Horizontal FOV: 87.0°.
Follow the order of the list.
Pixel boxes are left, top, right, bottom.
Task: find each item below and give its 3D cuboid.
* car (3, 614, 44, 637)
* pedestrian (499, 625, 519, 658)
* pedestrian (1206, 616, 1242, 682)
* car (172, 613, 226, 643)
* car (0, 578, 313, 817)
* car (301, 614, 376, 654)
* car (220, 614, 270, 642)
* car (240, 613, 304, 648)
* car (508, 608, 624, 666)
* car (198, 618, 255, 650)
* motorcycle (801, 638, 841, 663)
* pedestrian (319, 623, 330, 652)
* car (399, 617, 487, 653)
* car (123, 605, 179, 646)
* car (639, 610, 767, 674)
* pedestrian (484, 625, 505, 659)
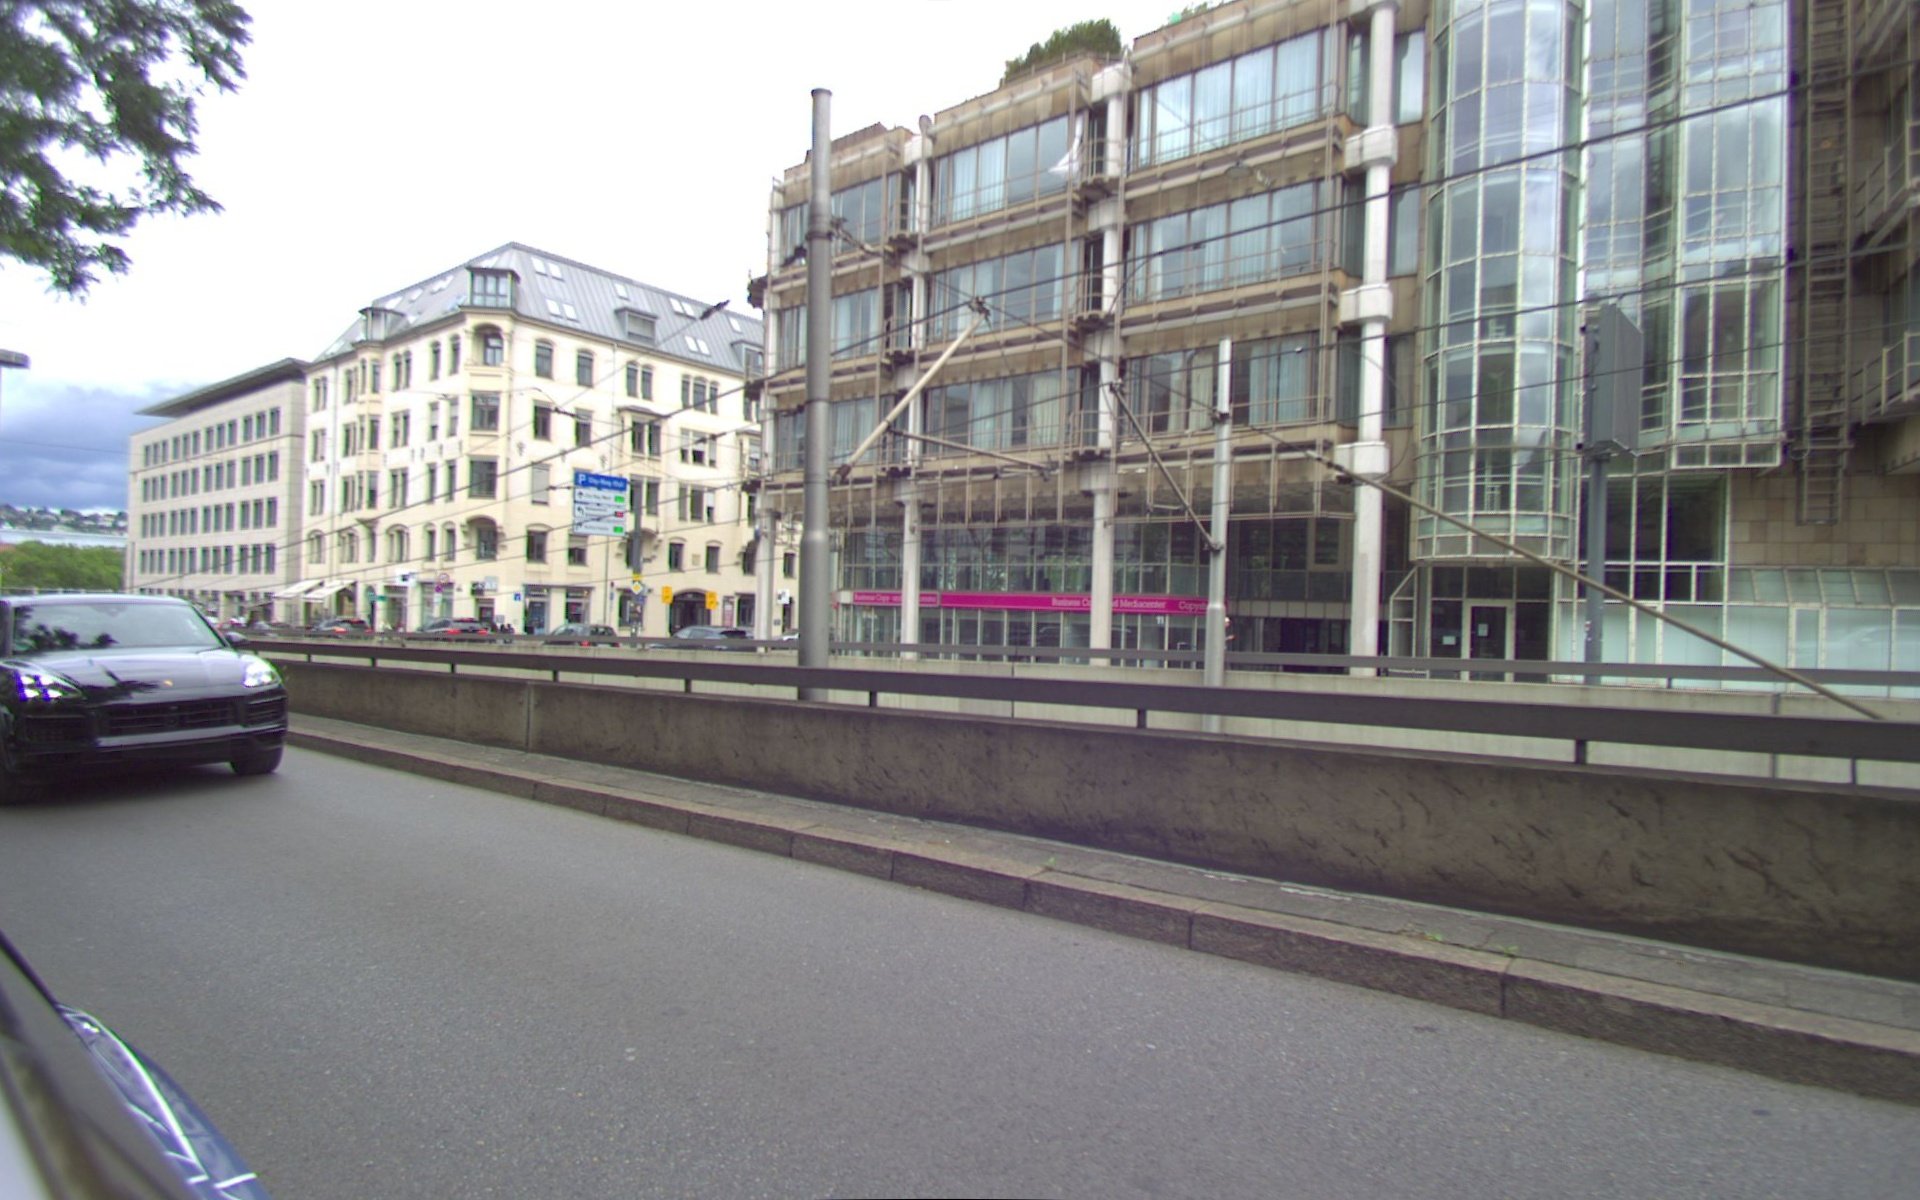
[{"bbox_3d":[-84.565,2.261,91.360,4.785,2.029,2.089,-1,0,39],"label":"car"},{"bbox_3d":[-23.744,2.158,53.287,0.684,1.724,0.705,-2,-2,28],"label":"pedestrian"},{"bbox_3d":[7.370,1.350,28.246,0.739,1.806,0.723,-1,-1,40],"label":"pedestrian"},{"bbox_3d":[-53.646,1.955,71.316,4.786,2.029,1.974,-1,0,40],"label":"car"},{"bbox_3d":[-8.275,0.743,9.593,5.346,1.688,2.062,-2,-1,39],"label":"car"},{"bbox_3d":[-33.254,1.789,54.088,4.786,2.029,1.974,-1,0,40],"label":"car"},{"bbox_3d":[-52.821,2.064,74.765,3.996,2.029,1.974,-1,-2,39],"label":"car"},{"bbox_3d":[-41.981,1.799,61.686,4.786,2.029,1.974,-1,0,40],"label":"car"},{"bbox_3d":[-15.234,1.371,39.029,4.784,1.978,1.975,-1,2,38],"label":"car"},{"bbox_3d":[-48.646,2.232,67.074,4.786,2.029,1.974,-1,0,40],"label":"car"},{"bbox_3d":[-6.156,2.216,44.714,1.660,1.083,0.640,0,0,20],"label":"motorcycle"},{"bbox_3d":[-39.677,2.308,63.206,0.502,1.793,0.579,1,-1,-27],"label":"pedestrian"},{"bbox_3d":[-23.688,1.592,46.288,4.636,1.572,1.796,-1,-2,38],"label":"car"},{"bbox_3d":[-63.220,1.957,79.044,5.464,3.083,2.340,-1,0,40],"label":"car"},{"bbox_3d":[-8.638,1.350,33.890,4.375,1.929,1.974,0,0,40],"label":"car"},{"bbox_3d":[-24.043,2.156,52.298,0.684,1.724,0.705,-2,-2,28],"label":"pedestrian"}]
